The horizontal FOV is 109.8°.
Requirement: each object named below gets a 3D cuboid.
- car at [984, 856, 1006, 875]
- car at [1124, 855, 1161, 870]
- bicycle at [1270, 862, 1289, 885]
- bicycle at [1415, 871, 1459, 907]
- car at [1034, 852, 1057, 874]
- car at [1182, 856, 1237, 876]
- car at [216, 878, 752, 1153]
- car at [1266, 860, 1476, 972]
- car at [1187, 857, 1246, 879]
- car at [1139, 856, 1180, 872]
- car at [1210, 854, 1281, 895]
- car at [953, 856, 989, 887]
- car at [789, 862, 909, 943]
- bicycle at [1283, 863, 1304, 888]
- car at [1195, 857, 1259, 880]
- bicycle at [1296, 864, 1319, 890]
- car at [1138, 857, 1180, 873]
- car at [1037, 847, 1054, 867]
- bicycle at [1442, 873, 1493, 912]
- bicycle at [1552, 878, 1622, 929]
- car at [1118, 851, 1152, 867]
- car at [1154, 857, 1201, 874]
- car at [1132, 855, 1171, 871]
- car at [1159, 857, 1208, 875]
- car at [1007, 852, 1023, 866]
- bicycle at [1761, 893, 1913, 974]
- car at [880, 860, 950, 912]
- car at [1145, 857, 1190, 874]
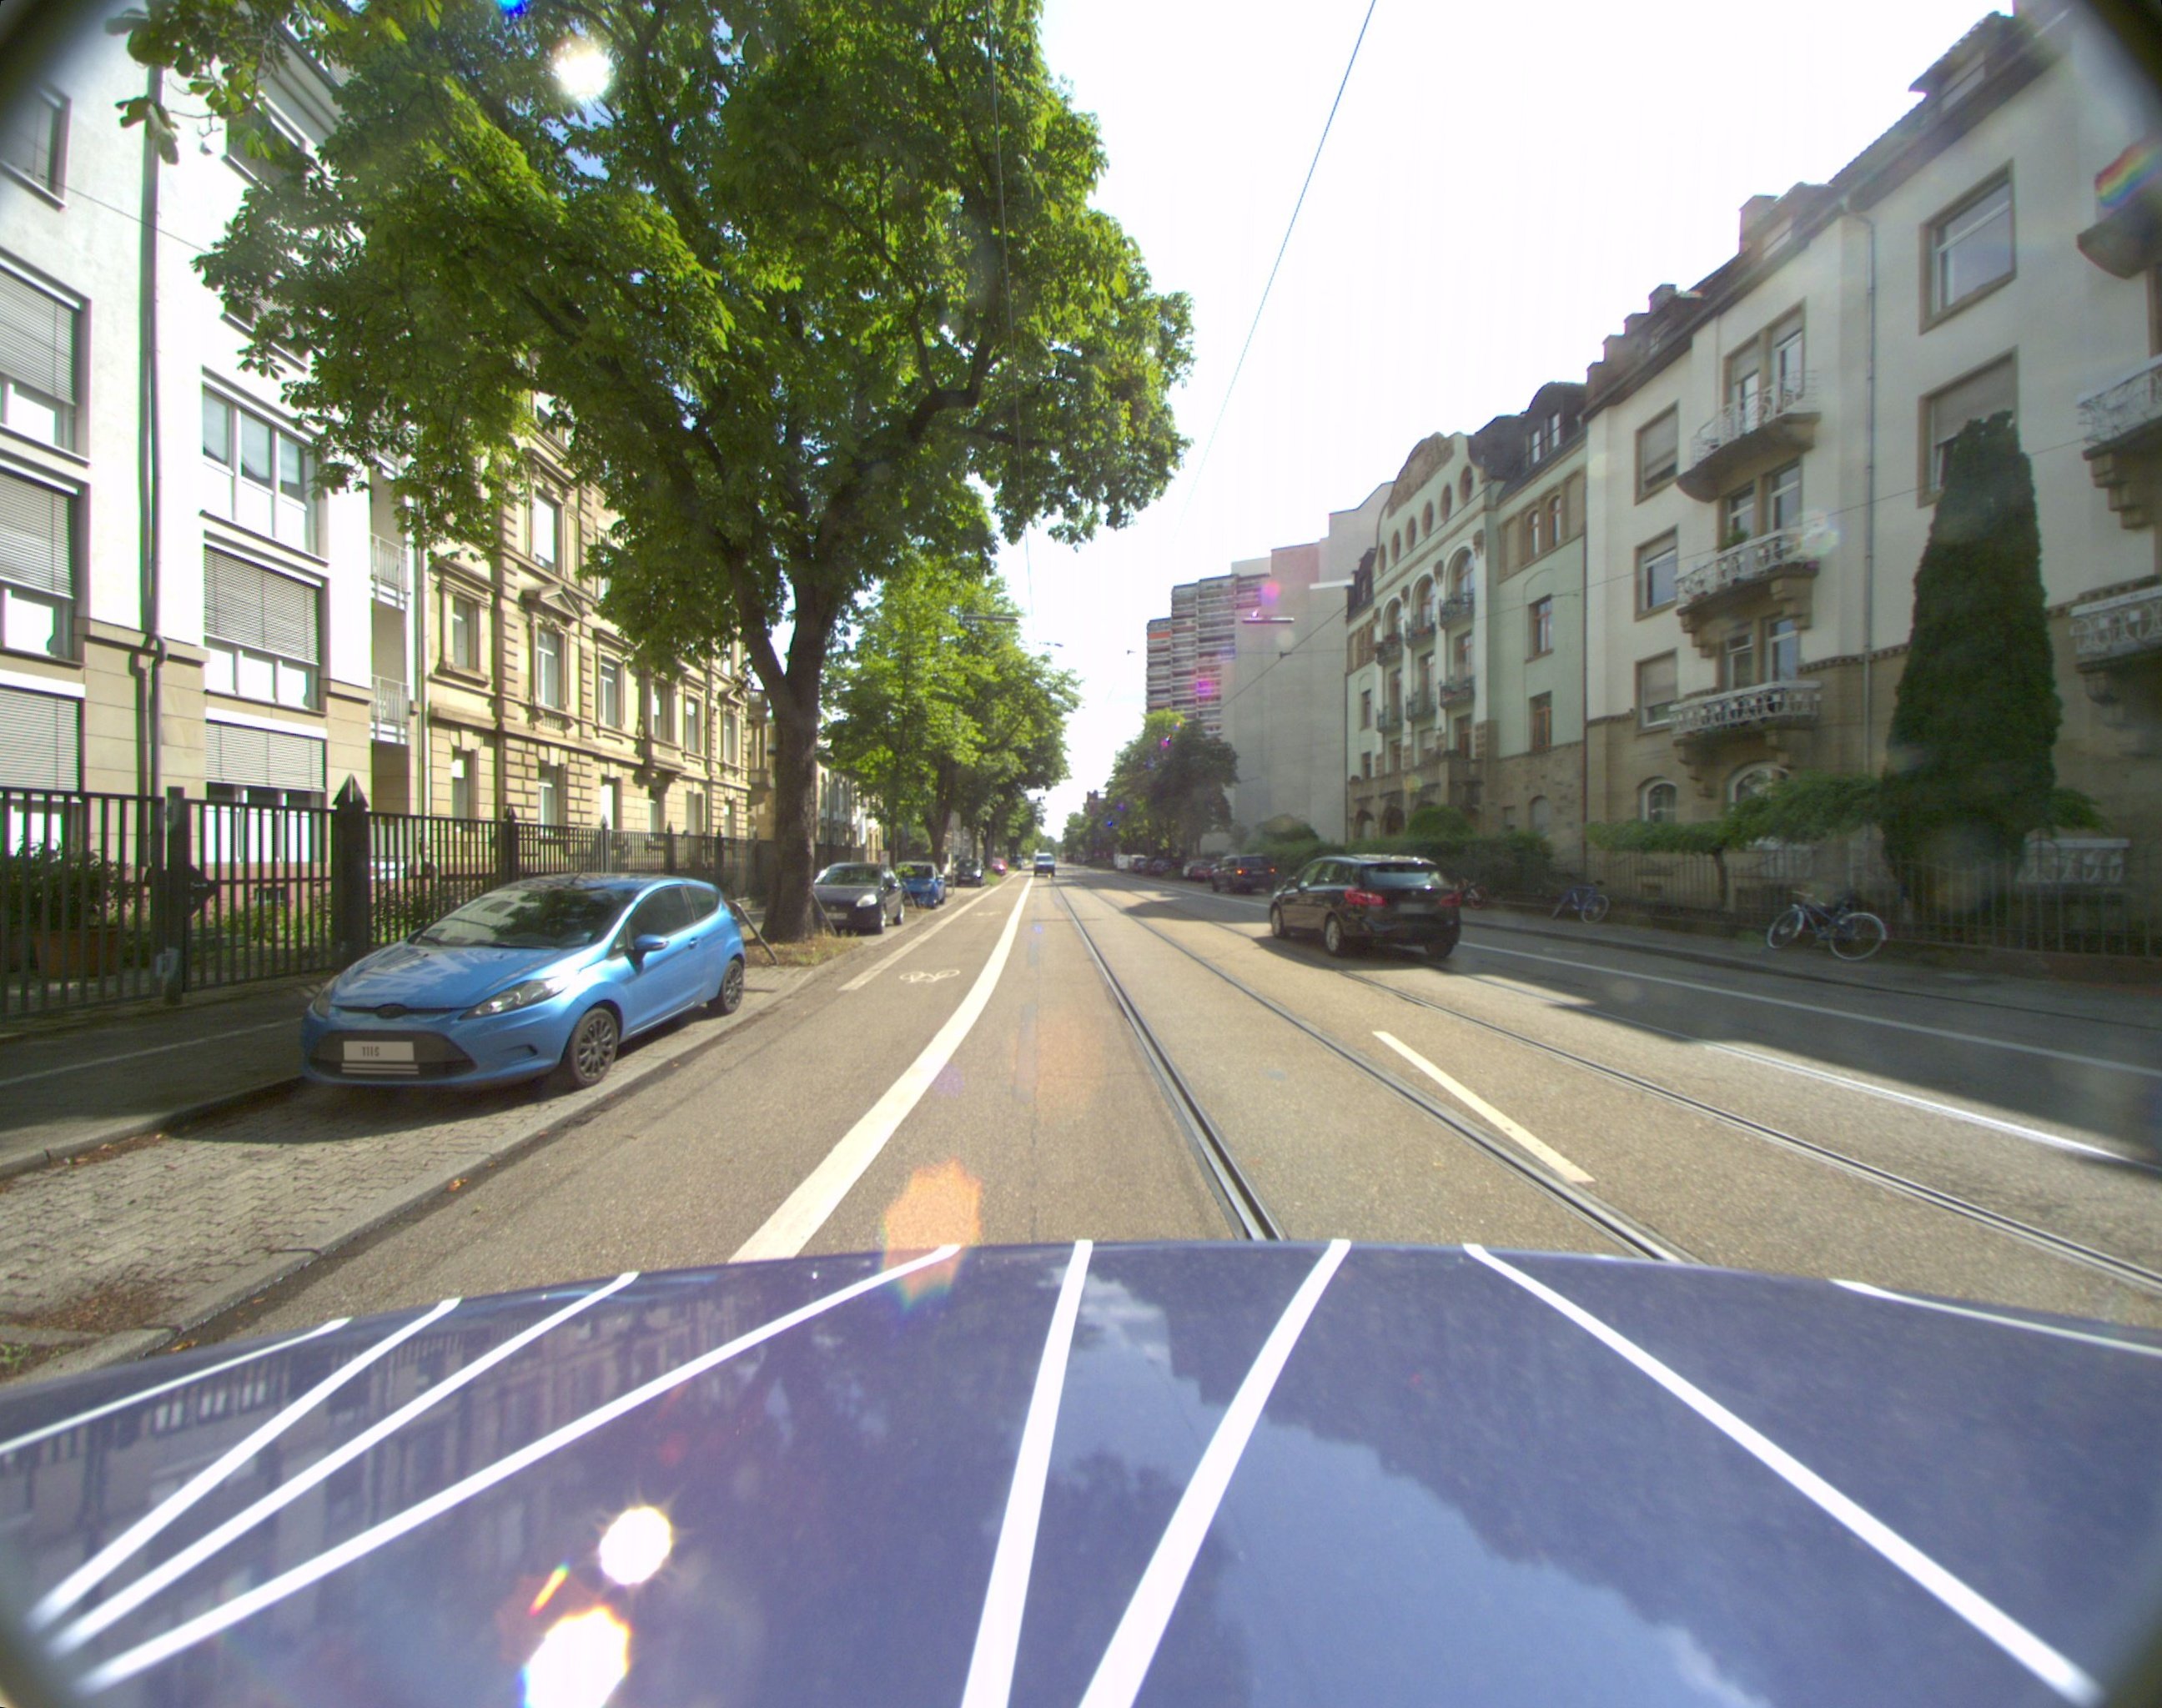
[{"bbox_3d":[-7.476,0.979,66.377,1.744,1.564,3.928,3,0,-4],"label":"car"},{"bbox_3d":[6.792,0.904,83.554,3.994,1.672,2.001,0,0,8],"label":"car"},{"bbox_3d":[9.959,0.959,38.121,0.468,1.128,1.787,0,0,-1],"label":"bicycle"},{"bbox_3d":[10.690,1.035,22.885,0.468,0.990,1.787,0,0,-1],"label":"bicycle"},{"bbox_3d":[-3.215,0.777,69.132,1.974,1.901,4.817,0,0,-2],"label":"car"},{"bbox_3d":[9.619,0.875,56.964,3.994,1.499,2.001,0,0,8],"label":"car"},{"bbox_3d":[-4.319,1.023,6.332,1.647,1.467,3.660,3,0,-3],"label":"car"},{"bbox_3d":[4.516,0.868,12.565,1.760,1.509,4.067,0,0,-3],"label":"car"},{"bbox_3d":[9.486,0.957,53.415,3.994,1.499,2.001,0,0,8],"label":"car"},{"bbox_3d":[7.795,1.002,75.656,3.994,1.499,2.001,0,0,8],"label":"car"},{"bbox_3d":[7.241,0.857,33.942,1.922,1.685,4.400,0,0,-5],"label":"car"},{"bbox_3d":[-6.246,0.969,43.421,1.744,1.564,3.659,3,0,-4],"label":"car"},{"bbox_3d":[-4.921,0.973,16.630,1.679,1.467,3.659,3,0,-4],"label":"car"},{"bbox_3d":[10.061,1.004,36.024,0.468,1.128,1.787,0,0,-1],"label":"bicycle"},{"bbox_3d":[9.522,0.948,49.907,3.994,1.499,2.001,0,0,8],"label":"car"},{"bbox_3d":[10.144,1.024,34.082,0.468,1.128,1.787,0,0,-1],"label":"bicycle"},{"bbox_3d":[7.468,1.004,72.495,3.994,1.499,2.001,0,0,8],"label":"car"},{"bbox_3d":[-4.536,0.350,97.617,2.146,2.568,4.817,0,0,-2],"label":"car"},{"bbox_3d":[10.653,1.041,20.987,0.468,0.990,1.787,0,0,-1],"label":"bicycle"},{"bbox_3d":[10.946,1.052,16.502,0.467,0.990,1.787,0,0,5],"label":"bicycle"},{"bbox_3d":[6.369,0.566,89.389,1.994,1.740,4.008,-1,1,41],"label":"car"},{"bbox_3d":[8.375,0.991,66.167,3.994,1.499,2.001,0,0,8],"label":"car"},{"bbox_3d":[7.376,0.921,79.129,3.994,1.672,2.001,0,0,8],"label":"car"},{"bbox_3d":[8.474,0.978,63.011,3.994,1.499,2.001,0,0,8],"label":"car"},{"bbox_3d":[-7.879,0.563,91.050,1.744,1.564,3.928,3,0,-4],"label":"car"},{"bbox_3d":[11.096,1.124,11.258,0.467,0.990,1.979,0,0,7],"label":"bicycle"},{"bbox_3d":[-5.334,0.994,24.844,1.679,1.467,3.659,3,0,-4],"label":"car"},{"bbox_3d":[7.875,1.029,69.286,3.994,1.499,2.001,0,0,8],"label":"car"}]
